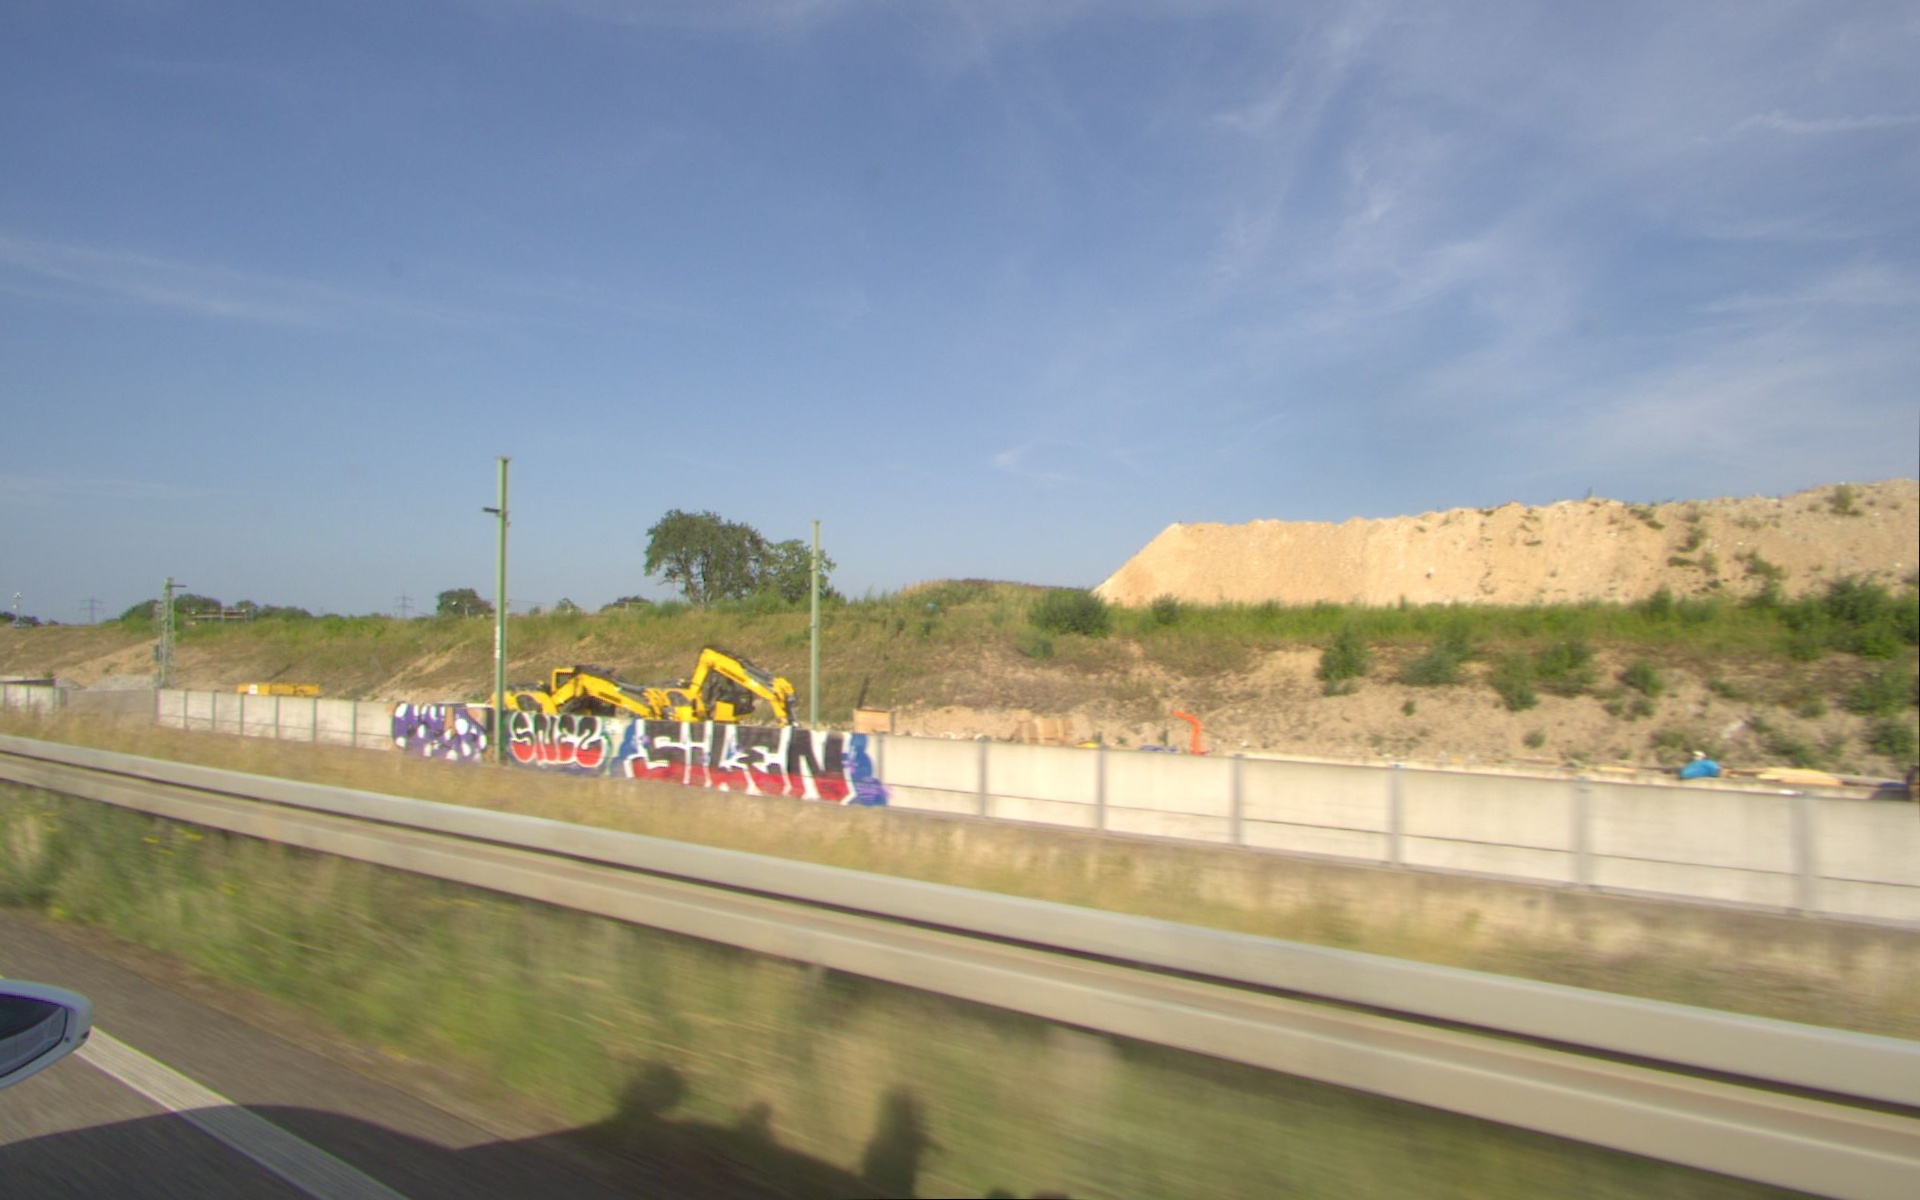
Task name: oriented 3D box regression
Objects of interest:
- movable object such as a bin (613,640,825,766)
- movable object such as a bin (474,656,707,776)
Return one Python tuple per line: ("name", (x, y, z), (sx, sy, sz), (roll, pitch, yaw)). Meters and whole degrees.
("movable object such as a bin", (-8.493, 3.400, 34.995), (7.429, 3.935, 2.792), (-1, -2, 32))
("movable object such as a bin", (-11.861, 3.489, 31.830), (7.957, 3.280, 2.618), (-1, -2, 32))
